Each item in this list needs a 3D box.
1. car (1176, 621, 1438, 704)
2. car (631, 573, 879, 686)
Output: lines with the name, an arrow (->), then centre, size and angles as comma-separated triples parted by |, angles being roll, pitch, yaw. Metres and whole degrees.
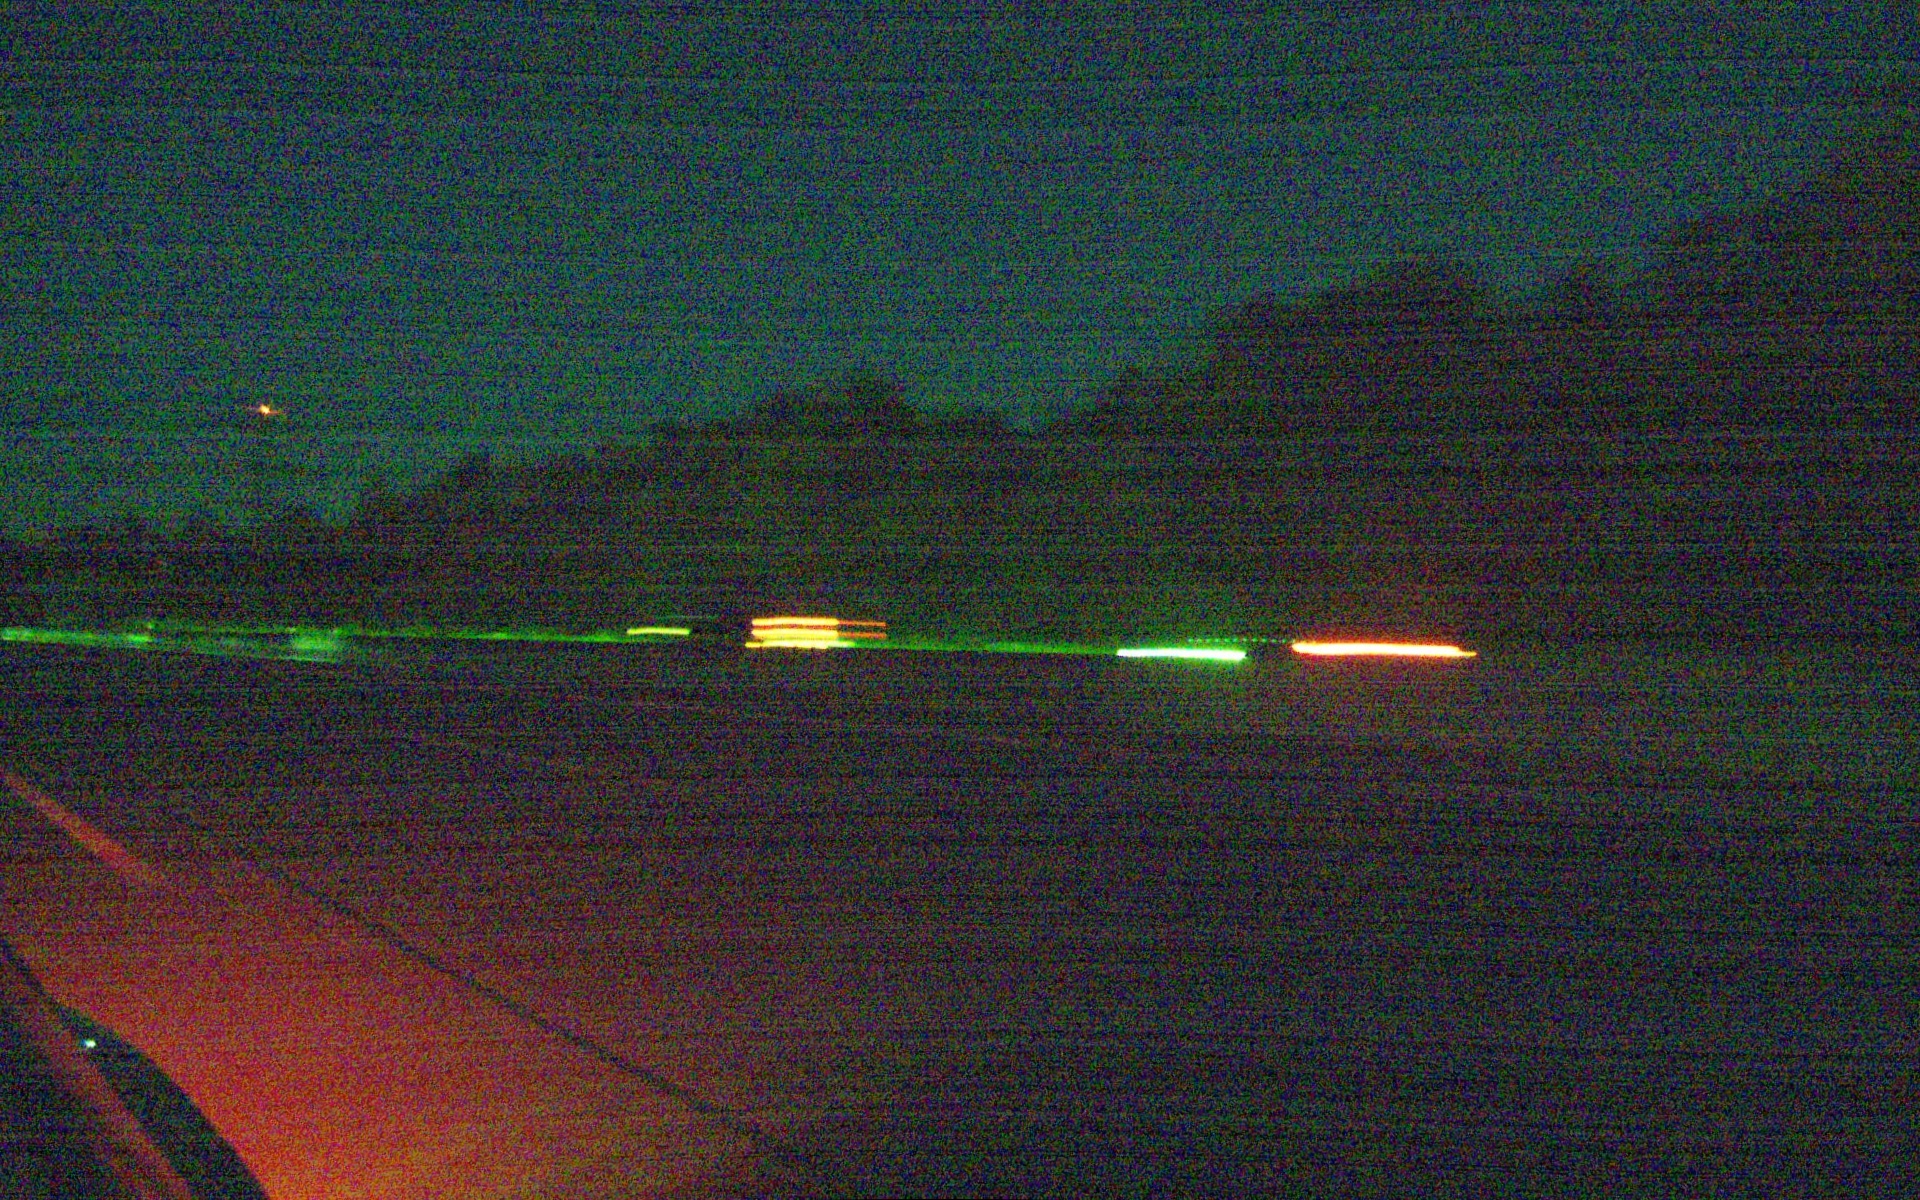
car -> 7.515, 1.290, 22.254 | 5.072, 1.610, 2.031 | -1, -1, 39
car -> -6.106, 0.818, 29.341 | 7.711, 2.879, 2.923 | -1, -1, 40
